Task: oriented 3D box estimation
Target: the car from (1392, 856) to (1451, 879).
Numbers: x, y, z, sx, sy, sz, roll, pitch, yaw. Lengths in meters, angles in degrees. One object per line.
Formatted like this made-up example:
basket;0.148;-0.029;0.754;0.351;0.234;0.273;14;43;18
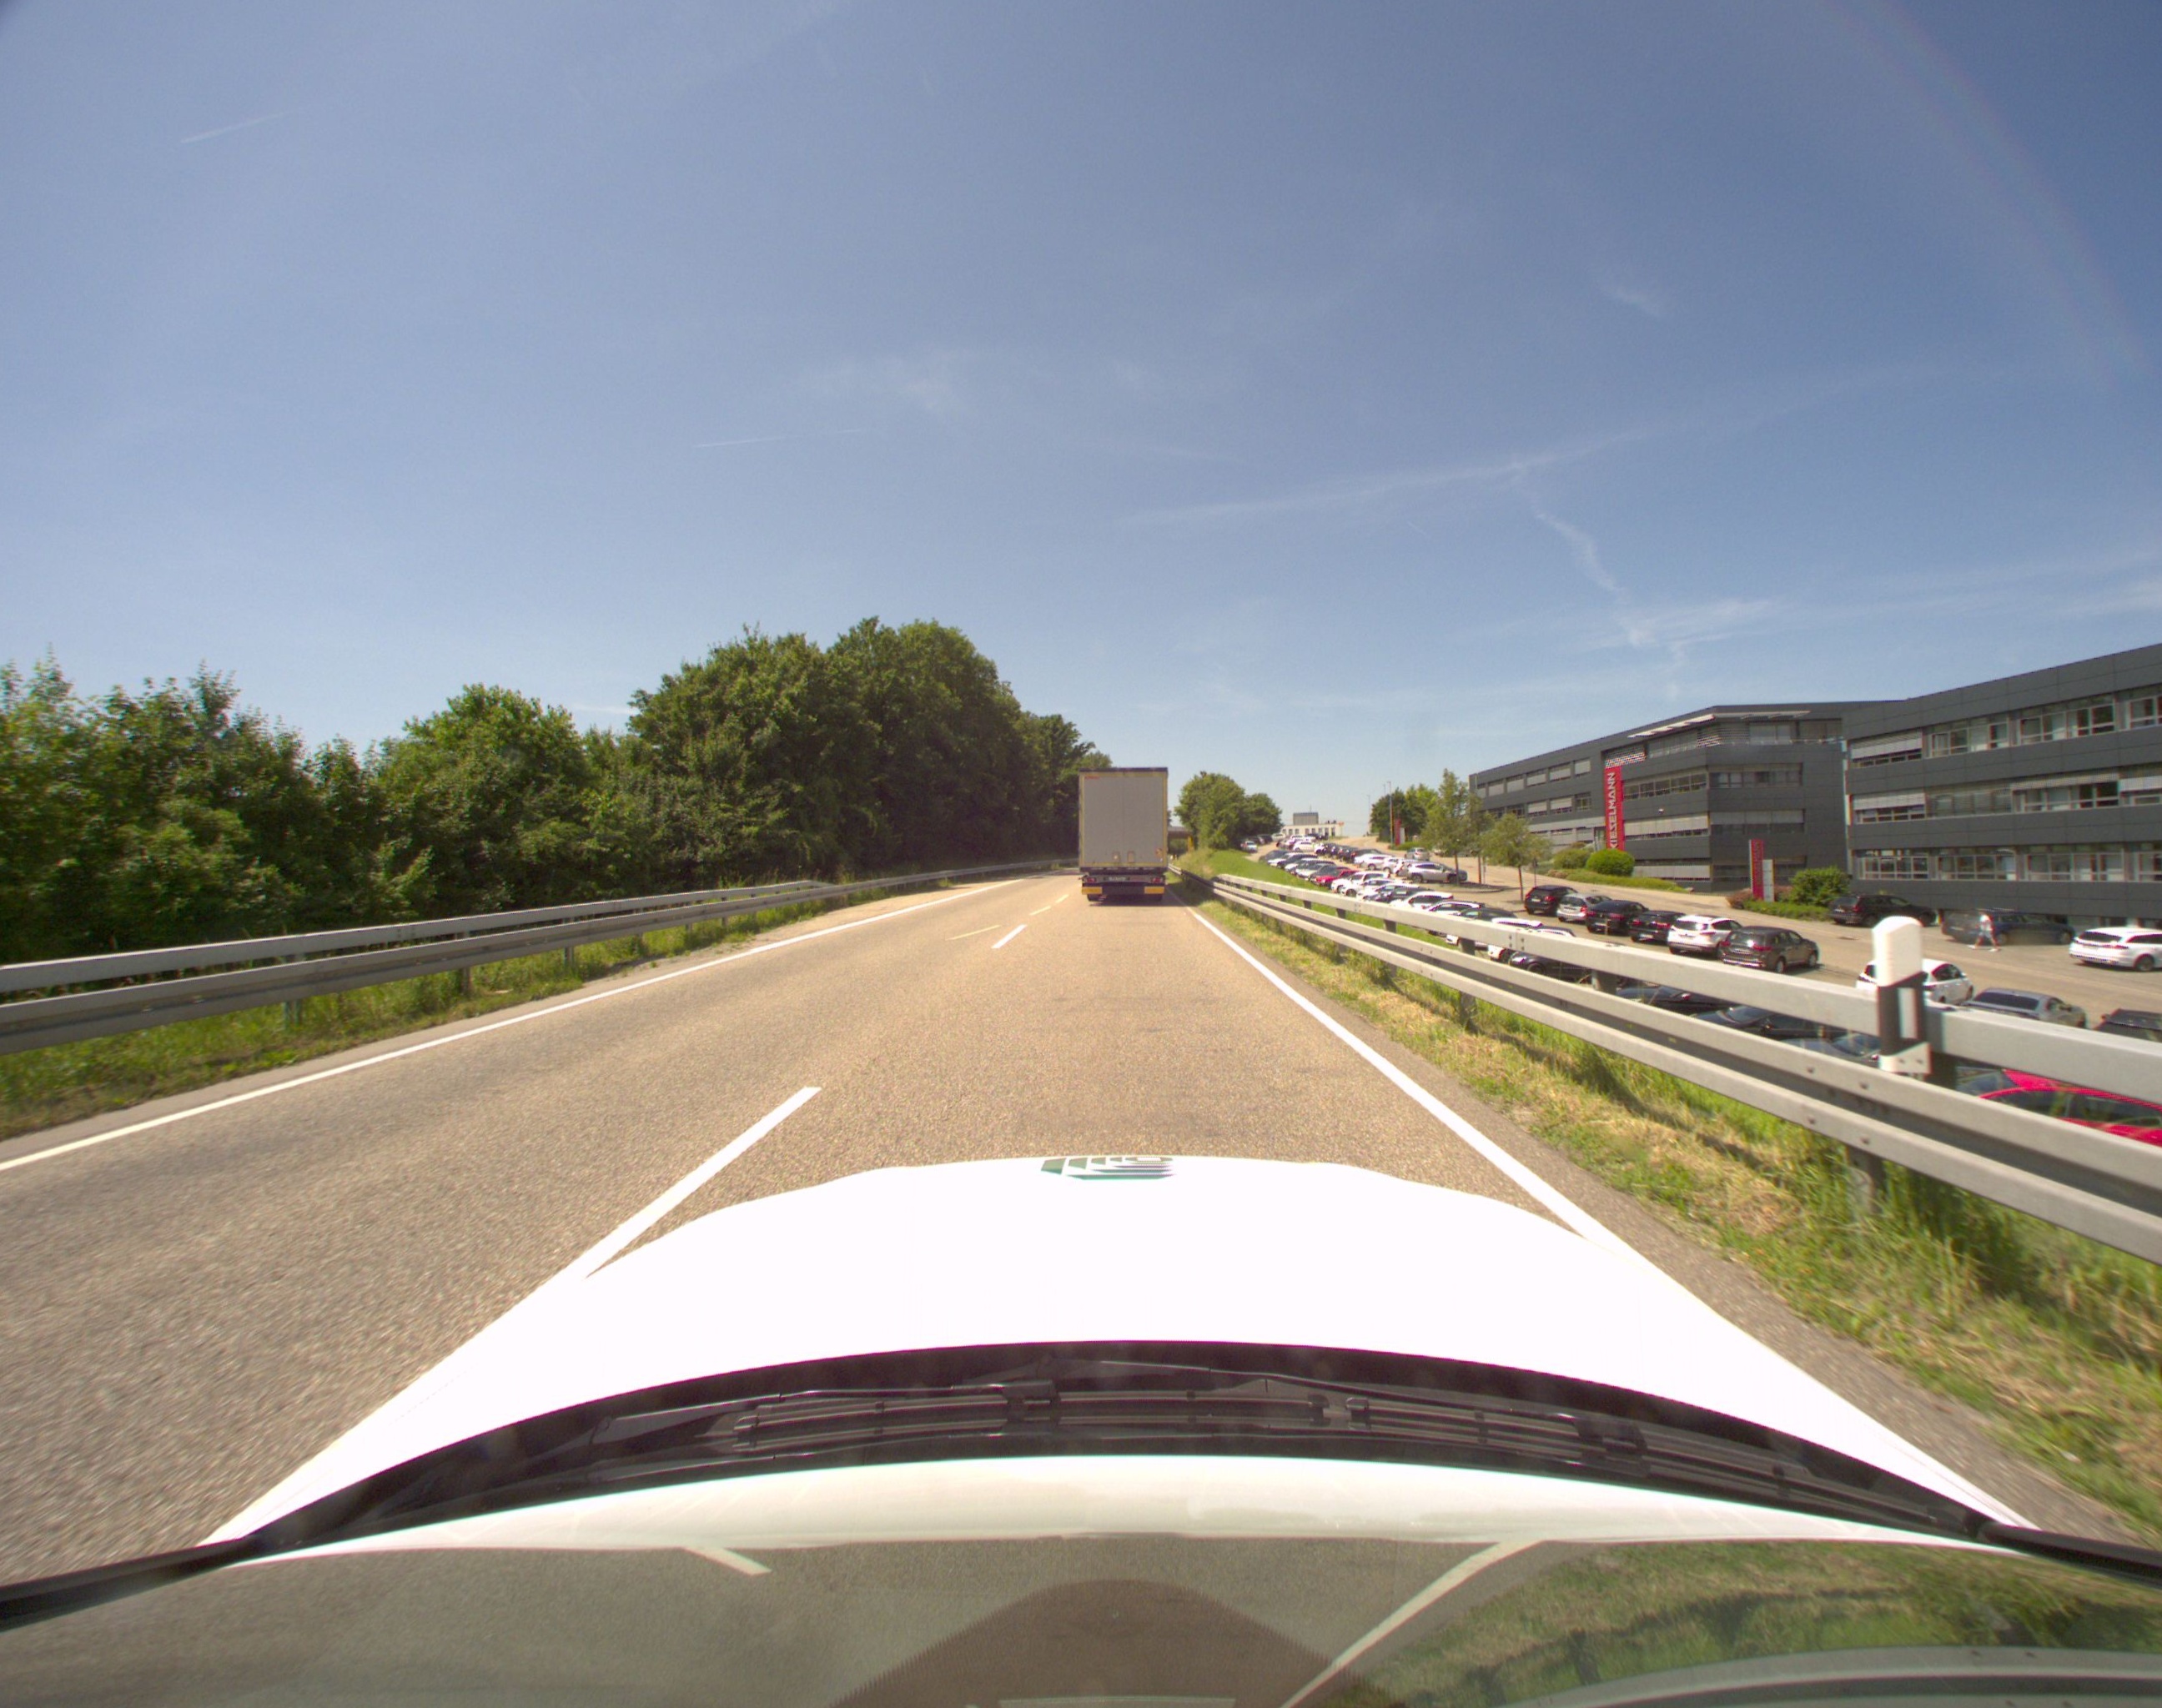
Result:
car;29.085;1.142;69.592;4.529;1.627;1.833;2;7;29

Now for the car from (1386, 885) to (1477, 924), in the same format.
car;19.242;2.741;44.749;4.323;1.558;1.873;5;3;27

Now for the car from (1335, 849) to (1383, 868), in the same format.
car;29.847;0.473;87.555;4.530;1.628;1.832;6;3;30

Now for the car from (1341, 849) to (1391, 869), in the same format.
car;29.588;0.502;84.525;4.530;1.628;1.832;6;3;30

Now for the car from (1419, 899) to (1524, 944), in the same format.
car;18.706;3.180;39.076;4.323;1.456;1.830;6;3;30

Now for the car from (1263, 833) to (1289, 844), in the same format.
car;35.593;-2.837;148.417;4.384;1.685;1.874;-1;4;-25

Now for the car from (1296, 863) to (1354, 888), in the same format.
car;19.009;1.665;63.323;4.393;1.685;1.869;2;3;-33

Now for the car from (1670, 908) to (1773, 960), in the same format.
car;27.583;3.389;35.072;4.600;1.659;1.804;-2;5;-29

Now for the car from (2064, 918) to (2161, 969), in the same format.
car;41.288;3.431;31.451;4.559;1.571;1.820;-1;3;-2

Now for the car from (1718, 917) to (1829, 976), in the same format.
car;27.203;3.562;31.977;4.600;1.659;1.774;-2;5;-29

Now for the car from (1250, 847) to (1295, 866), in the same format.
car;20.182;0.252;85.805;4.383;1.685;1.874;3;3;-25

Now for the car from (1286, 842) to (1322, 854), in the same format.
car;30.714;-0.782;112.222;4.530;1.628;1.831;1;1;24

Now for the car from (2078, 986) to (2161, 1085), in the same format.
car;26.678;4.488;20.273;4.427;1.510;1.773;-2;5;-33

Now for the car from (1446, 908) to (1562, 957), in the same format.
car;18.573;3.399;35.806;4.323;1.394;1.830;6;3;30

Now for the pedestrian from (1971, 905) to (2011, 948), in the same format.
pedestrian;39.313;3.137;35.198;0.629;1.723;0.829;4;2;4

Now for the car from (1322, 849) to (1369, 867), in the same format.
car;29.504;0.445;90.856;4.530;1.628;1.832;6;3;30

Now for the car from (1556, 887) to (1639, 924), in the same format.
car;28.180;2.786;44.439;4.600;1.539;1.804;-2;5;-29

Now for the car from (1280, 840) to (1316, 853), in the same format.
car;30.762;-1.079;115.388;4.531;1.628;1.831;3;3;24

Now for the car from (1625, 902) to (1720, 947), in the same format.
car;27.734;3.256;38.157;4.600;1.512;1.804;-2;5;-29

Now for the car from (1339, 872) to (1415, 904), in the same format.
car;19.505;2.207;53.748;4.322;1.558;1.900;6;3;32

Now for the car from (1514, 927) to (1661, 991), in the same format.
car;18.304;3.760;29.690;4.324;1.490;1.721;5;3;27

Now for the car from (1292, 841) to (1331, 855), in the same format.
car;30.054;-0.789;106.248;4.531;1.628;1.831;2;2;24

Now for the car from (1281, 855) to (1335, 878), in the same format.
car;20.308;1.104;72.866;4.383;1.685;1.874;3;3;-25

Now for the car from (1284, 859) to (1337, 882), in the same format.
car;19.712;1.412;69.934;4.393;1.685;1.869;2;3;-33

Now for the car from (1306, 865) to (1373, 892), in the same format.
car;19.194;1.831;60.519;4.375;1.685;1.877;3;3;-18

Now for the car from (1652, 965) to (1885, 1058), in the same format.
car;19.236;4.365;23.125;4.667;1.487;1.926;6;3;29

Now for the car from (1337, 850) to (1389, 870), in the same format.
car;28.390;0.607;81.979;4.530;1.628;1.832;6;3;30

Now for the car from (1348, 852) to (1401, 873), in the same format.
car;28.549;0.824;79.304;4.530;1.628;1.832;6;3;30

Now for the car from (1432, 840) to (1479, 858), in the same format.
car;42.865;-0.556;93.191;4.551;1.949;1.823;-1;2;4

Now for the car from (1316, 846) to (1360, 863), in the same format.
car;30.468;0.084;96.663;4.530;1.628;1.832;6;3;30

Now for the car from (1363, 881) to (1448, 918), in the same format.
car;19.000;2.640;47.740;4.323;1.558;1.899;5;3;27

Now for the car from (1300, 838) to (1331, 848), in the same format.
car;38.442;-1.817;133.351;4.528;1.629;1.832;2;0;38

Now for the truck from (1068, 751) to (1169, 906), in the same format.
truck;1.245;-0.743;27.932;2.855;4.359;9.794;0;0;2

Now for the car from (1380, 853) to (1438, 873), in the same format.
car;29.213;0.785;72.526;4.528;1.477;1.832;-2;3;29

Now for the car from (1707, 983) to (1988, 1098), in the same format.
car;18.746;4.514;20.296;4.667;1.563;1.972;6;3;29

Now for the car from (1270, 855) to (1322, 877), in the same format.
car;20.066;1.120;75.905;4.383;1.685;1.874;3;3;-25

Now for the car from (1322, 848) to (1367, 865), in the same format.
car;30.120;0.268;93.160;4.530;1.628;1.832;6;3;30

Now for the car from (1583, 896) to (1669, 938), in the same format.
car;27.271;3.097;40.729;4.603;1.512;1.803;-2;5;-32

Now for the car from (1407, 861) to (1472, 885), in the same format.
car;28.058;1.443;63.740;4.528;1.628;1.832;1;4;29

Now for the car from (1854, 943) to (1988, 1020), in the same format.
car;26.805;3.979;25.962;4.600;1.659;1.774;-2;5;-29

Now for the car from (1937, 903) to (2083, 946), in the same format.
car;41.651;3.125;36.582;4.559;1.571;1.820;-1;3;-2

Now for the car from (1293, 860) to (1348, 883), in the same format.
car;19.666;1.455;66.865;4.393;1.685;1.869;2;3;-33

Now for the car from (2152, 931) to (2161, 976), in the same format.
car;41.217;3.616;28.582;4.551;1.571;1.823;-1;3;4

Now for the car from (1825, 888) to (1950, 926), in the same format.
car;41.265;2.701;41.759;4.554;1.647;1.822;-1;3;1

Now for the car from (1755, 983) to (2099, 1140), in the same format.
car;18.007;4.332;17.765;4.667;2.013;2.092;6;3;29

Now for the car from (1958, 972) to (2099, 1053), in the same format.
car;26.971;4.424;23.162;4.171;1.377;1.774;-2;5;-29

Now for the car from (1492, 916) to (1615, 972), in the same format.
car;18.811;3.561;32.618;4.076;1.517;1.689;5;3;27

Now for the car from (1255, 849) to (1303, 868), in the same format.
car;20.136;0.467;82.755;4.383;1.685;1.874;3;3;-25

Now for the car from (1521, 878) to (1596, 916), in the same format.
car;27.726;2.455;47.255;4.254;1.628;1.804;-3;6;-29

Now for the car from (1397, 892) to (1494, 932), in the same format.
car;18.777;2.946;41.958;4.323;1.456;1.830;5;3;27

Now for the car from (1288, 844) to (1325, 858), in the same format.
car;30.166;-0.379;109.040;4.531;1.628;1.831;3;2;24

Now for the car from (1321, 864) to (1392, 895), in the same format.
car;19.302;1.742;57.126;4.406;1.685;1.899;5;3;25

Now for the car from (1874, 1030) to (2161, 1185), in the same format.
car;17.847;4.651;14.994;4.356;1.558;1.998;6;3;38

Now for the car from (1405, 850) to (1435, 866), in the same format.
car;36.418;0.389;87.588;1.798;1.662;4.006;1;0;5

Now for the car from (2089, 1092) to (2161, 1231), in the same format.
car;18.235;4.920;11.610;4.358;1.662;1.910;5;3;24

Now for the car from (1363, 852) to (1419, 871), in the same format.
car;28.847;0.710;75.822;4.527;1.519;1.833;1;5;34

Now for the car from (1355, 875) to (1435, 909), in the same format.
car;19.377;2.331;50.273;4.323;1.558;1.899;5;3;27

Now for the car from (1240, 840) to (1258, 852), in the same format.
car;22.822;-1.118;111.010;1.619;1.353;3.711;4;3;0

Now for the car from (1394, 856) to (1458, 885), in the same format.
car;28.335;1.332;66.881;4.530;1.627;1.833;6;11;29

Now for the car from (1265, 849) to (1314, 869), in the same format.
car;20.336;0.477;79.404;4.383;1.685;1.874;3;3;-25
